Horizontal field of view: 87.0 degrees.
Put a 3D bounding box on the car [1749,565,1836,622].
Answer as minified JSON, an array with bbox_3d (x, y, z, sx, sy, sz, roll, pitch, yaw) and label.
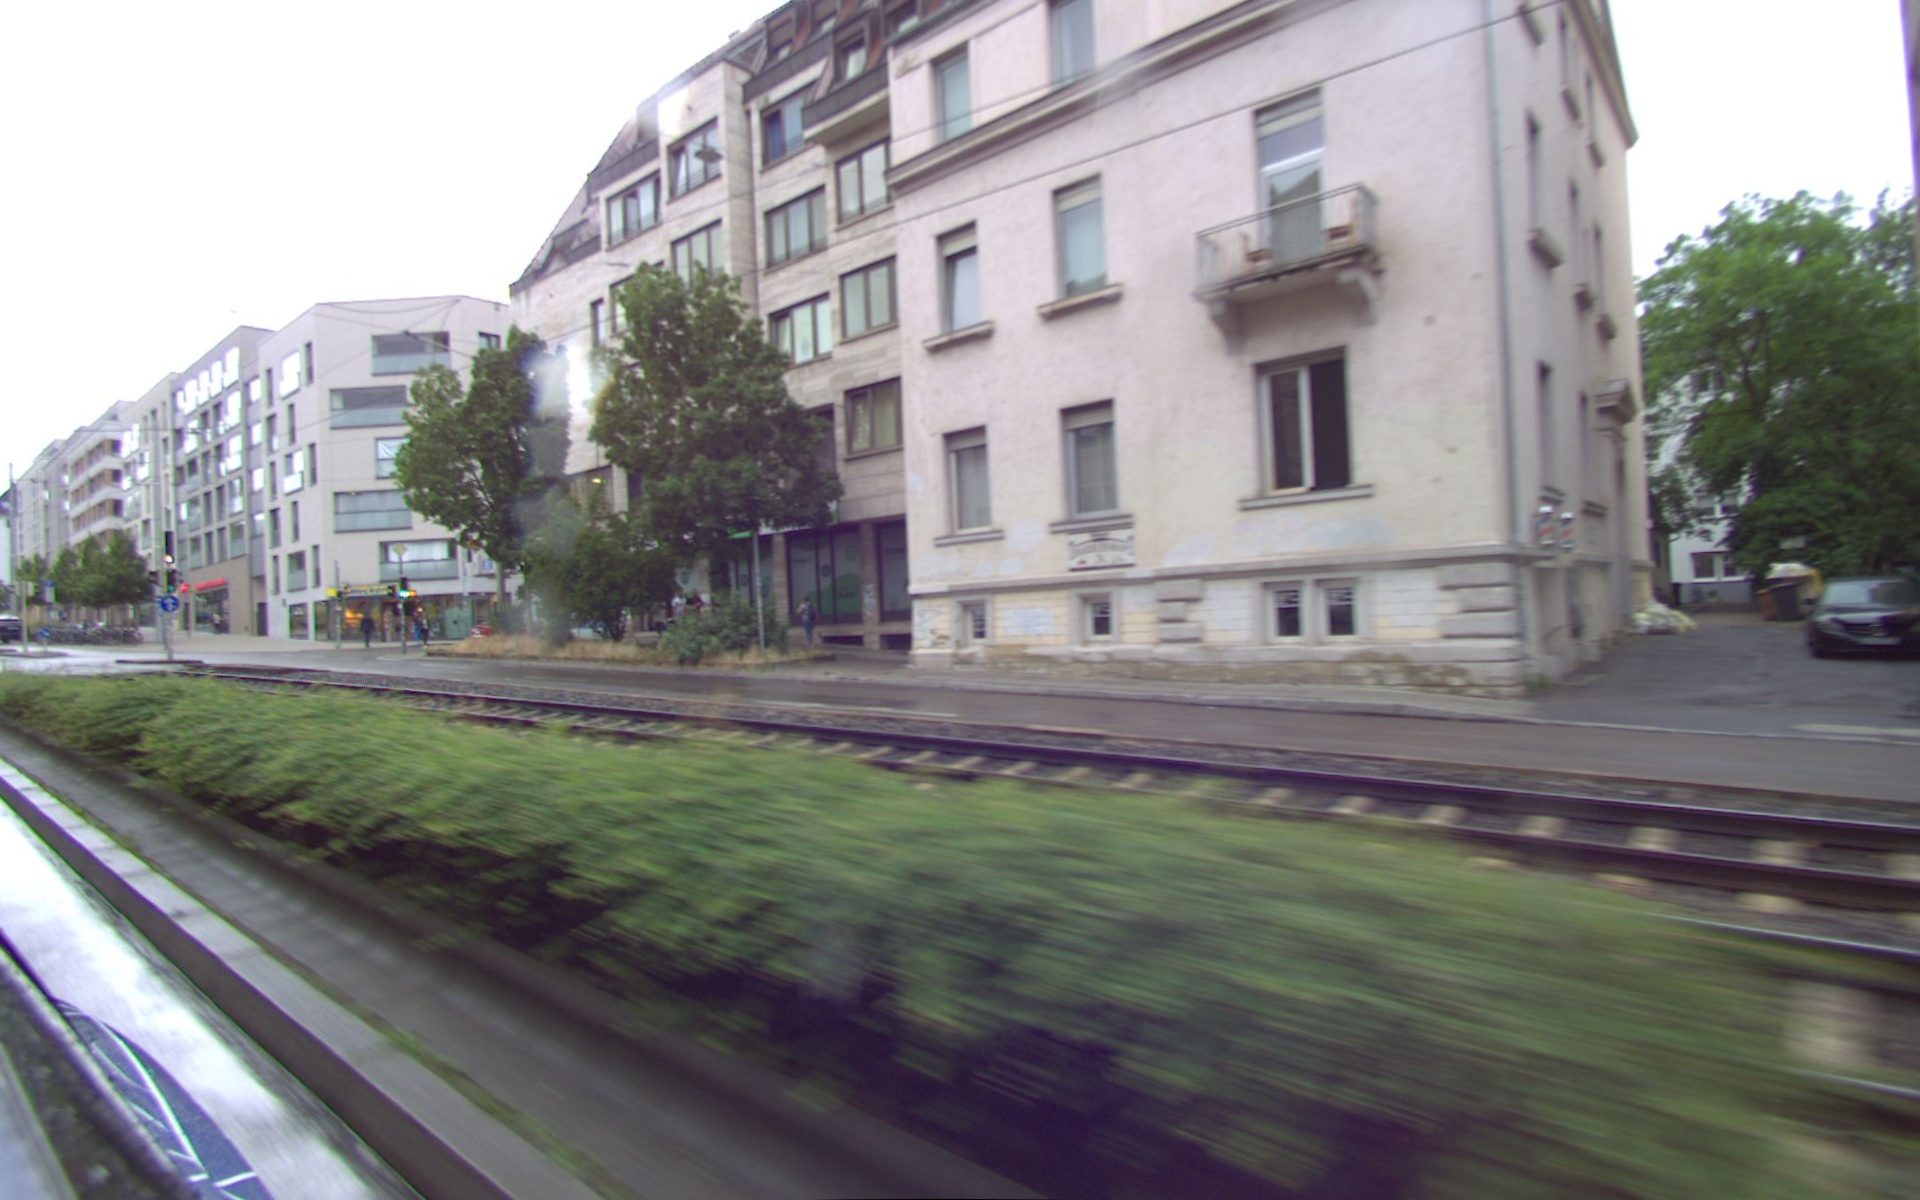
[{"bbox_3d":[24.639,-0.183,30.022,1.859,1.573,4.071,-1,0,39],"label":"car"}]

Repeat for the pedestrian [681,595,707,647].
[{"bbox_3d":[-8.467,0.656,32.187,0.585,1.609,0.499,0,3,39],"label":"pedestrian"}]

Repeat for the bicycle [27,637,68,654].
[{"bbox_3d":[-52.497,2.609,58.244,0.385,0.924,1.774,0,0,26],"label":"bicycle"}]

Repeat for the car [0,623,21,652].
[{"bbox_3d":[-57.298,2.199,59.596,4.312,1.616,1.669,0,1,30],"label":"car"}]

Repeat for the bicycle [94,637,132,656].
[{"bbox_3d":[-47.514,2.595,56.778,0.383,0.924,1.783,-1,1,11],"label":"bicycle"}]

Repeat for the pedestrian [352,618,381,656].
[{"bbox_3d":[-29.736,1.854,50.686,0.956,1.843,0.923,0,-1,32],"label":"pedestrian"}]

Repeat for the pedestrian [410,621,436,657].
[{"bbox_3d":[-24.453,1.763,46.110,0.767,1.580,0.648,-1,2,3],"label":"pedestrian"}]

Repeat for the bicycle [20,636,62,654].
[{"bbox_3d":[-53.470,2.618,58.882,0.385,0.924,1.774,0,1,26],"label":"bicycle"}]

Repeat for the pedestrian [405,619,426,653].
[{"bbox_3d":[-27.682,1.832,51.458,0.580,1.723,0.701,-1,1,17],"label":"pedestrian"}]

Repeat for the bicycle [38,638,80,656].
[{"bbox_3d":[-50.968,2.634,57.276,0.385,0.924,1.774,0,1,26],"label":"bicycle"}]

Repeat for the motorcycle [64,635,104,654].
[{"bbox_3d":[-53.036,2.670,61.290,0.540,1.050,1.748,1,0,26],"label":"motorcycle"}]

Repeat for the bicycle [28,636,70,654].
[{"bbox_3d":[-51.859,2.532,57.641,0.385,0.924,1.774,0,0,26],"label":"bicycle"}]

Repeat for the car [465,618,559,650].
[{"bbox_3d":[-20.789,1.540,47.026,1.594,1.327,3.653,0,1,43],"label":"car"}]

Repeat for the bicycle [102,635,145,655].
[{"bbox_3d":[-45.936,2.458,55.596,0.438,0.987,1.774,0,2,26],"label":"bicycle"}]

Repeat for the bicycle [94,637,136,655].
[{"bbox_3d":[-46.950,2.542,56.219,0.385,0.883,1.772,0,1,28],"label":"bicycle"}]

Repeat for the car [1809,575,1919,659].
[{"bbox_3d":[17.366,0.276,19.148,1.859,1.429,4.373,-1,0,39],"label":"car"}]

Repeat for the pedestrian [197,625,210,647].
[{"bbox_3d":[-51.642,2.458,69.086,0.803,1.460,0.533,1,3,43],"label":"pedestrian"}]

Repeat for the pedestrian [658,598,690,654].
[{"bbox_3d":[-9.196,0.824,32.548,0.683,1.737,0.641,0,3,39],"label":"pedestrian"}]

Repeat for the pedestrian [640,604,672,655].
[{"bbox_3d":[-9.615,0.932,31.996,0.683,1.560,0.641,0,3,39],"label":"pedestrian"}]
